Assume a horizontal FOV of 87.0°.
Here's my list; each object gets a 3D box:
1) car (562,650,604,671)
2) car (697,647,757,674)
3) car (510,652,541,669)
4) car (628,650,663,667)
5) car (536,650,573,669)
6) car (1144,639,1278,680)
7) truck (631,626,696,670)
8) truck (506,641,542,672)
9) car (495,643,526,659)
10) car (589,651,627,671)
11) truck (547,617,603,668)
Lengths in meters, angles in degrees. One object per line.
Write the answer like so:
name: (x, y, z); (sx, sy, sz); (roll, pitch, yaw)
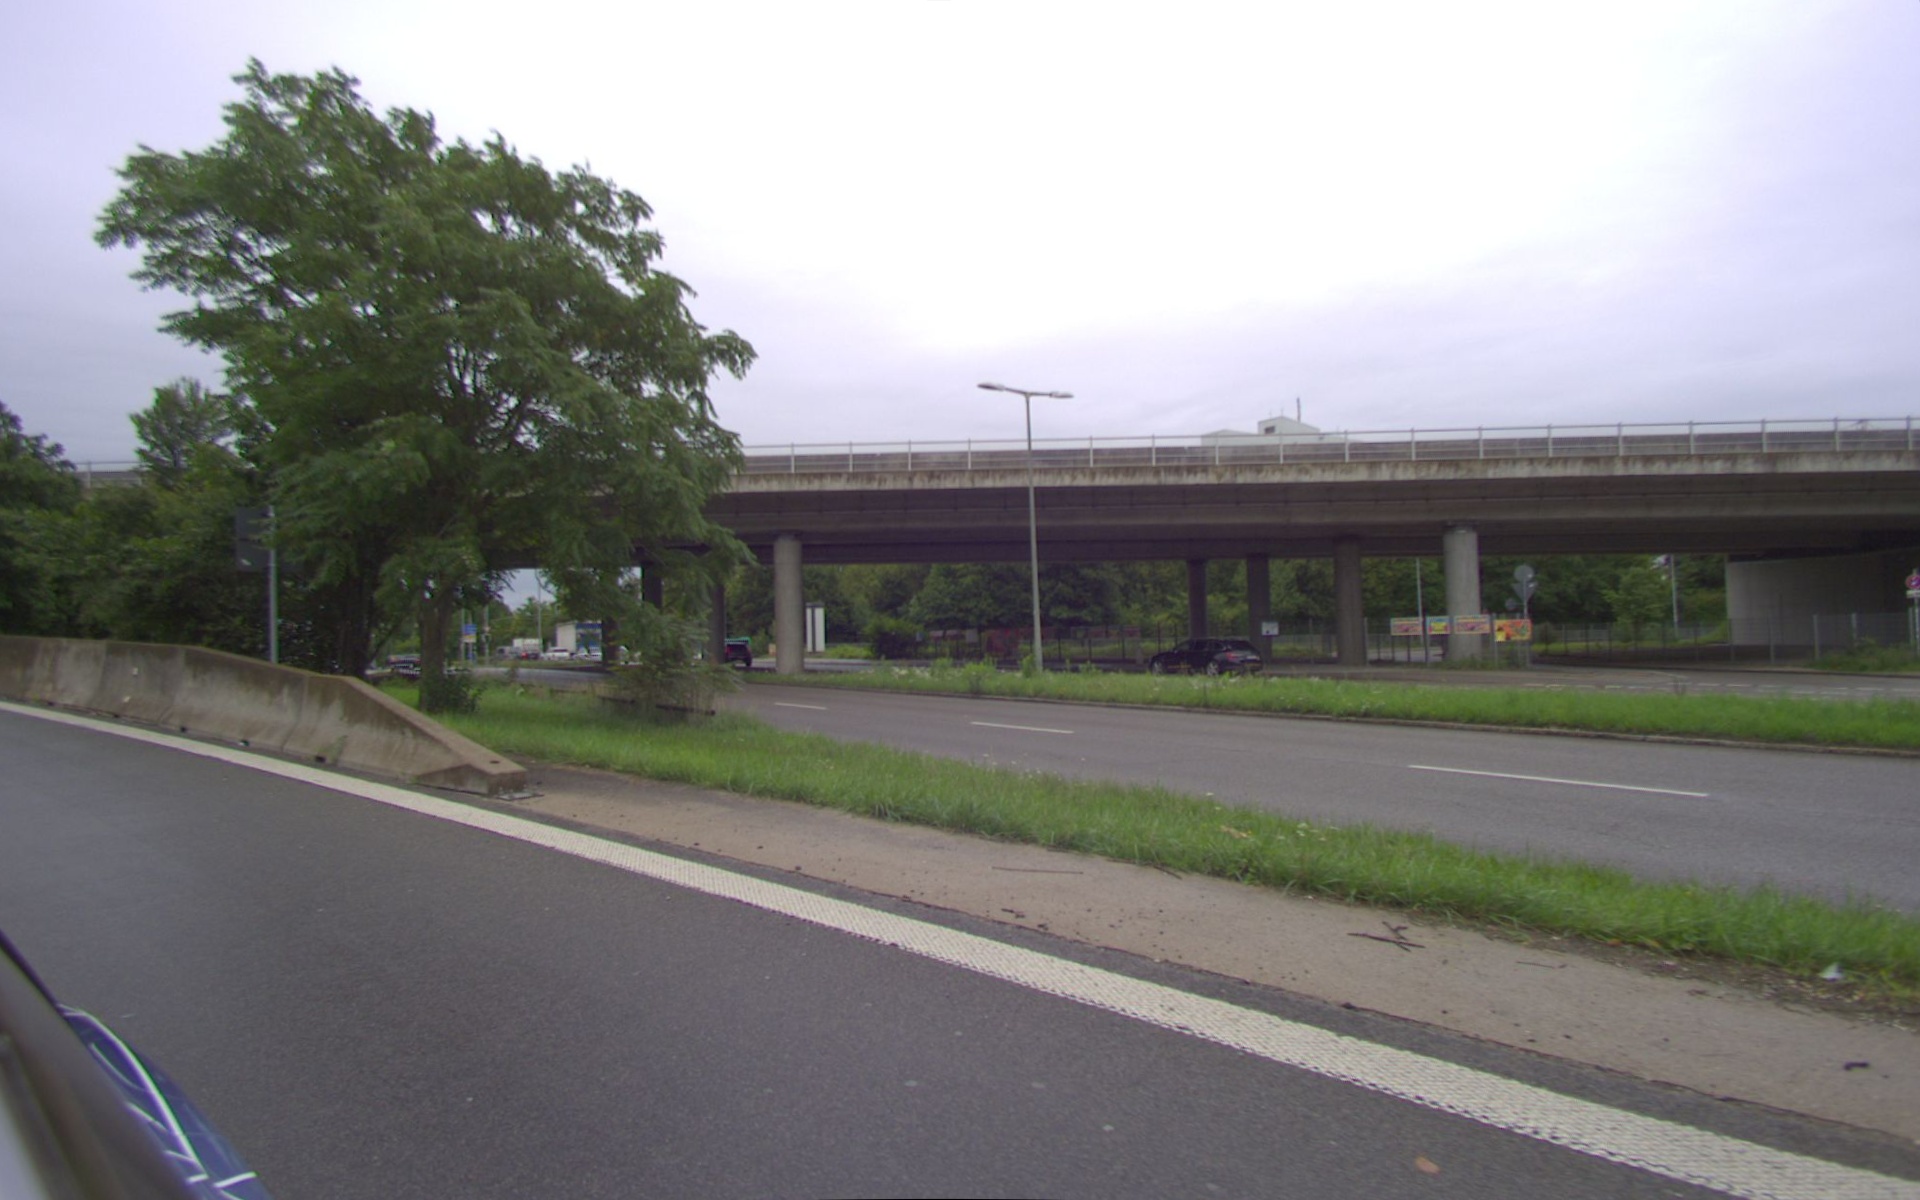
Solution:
car: (-30.331, 4.828, 81.326); (1.943, 1.595, 4.601); (3, -4, -36)
car: (-14.435, 3.702, 62.602); (1.943, 1.595, 4.601); (3, -4, -36)
car: (-43.041, 5.952, 100.215); (1.943, 1.595, 4.602); (1, -3, -36)
car: (-30.414, 5.625, 97.721); (1.942, 1.595, 4.602); (3, -4, -35)
car: (-36.504, 5.347, 91.078); (1.943, 1.595, 4.601); (3, -4, -36)
car: (9.214, 2.157, 37.548); (1.942, 1.407, 4.830); (1, -3, -33)
truck: (-21.451, 3.467, 73.016); (2.222, 3.000, 7.251); (3, -4, -34)
truck: (-53.243, 6.891, 123.616); (2.752, 3.708, 6.661); (3, -4, -34)
car: (-47.367, 5.395, 106.615); (1.943, 1.618, 4.601); (3, -4, -36)
car: (-29.936, 5.178, 85.980); (1.942, 1.595, 4.603); (3, -4, -33)
truck: (-36.761, 4.080, 96.337); (2.752, 4.627, 9.626); (3, -4, -34)
